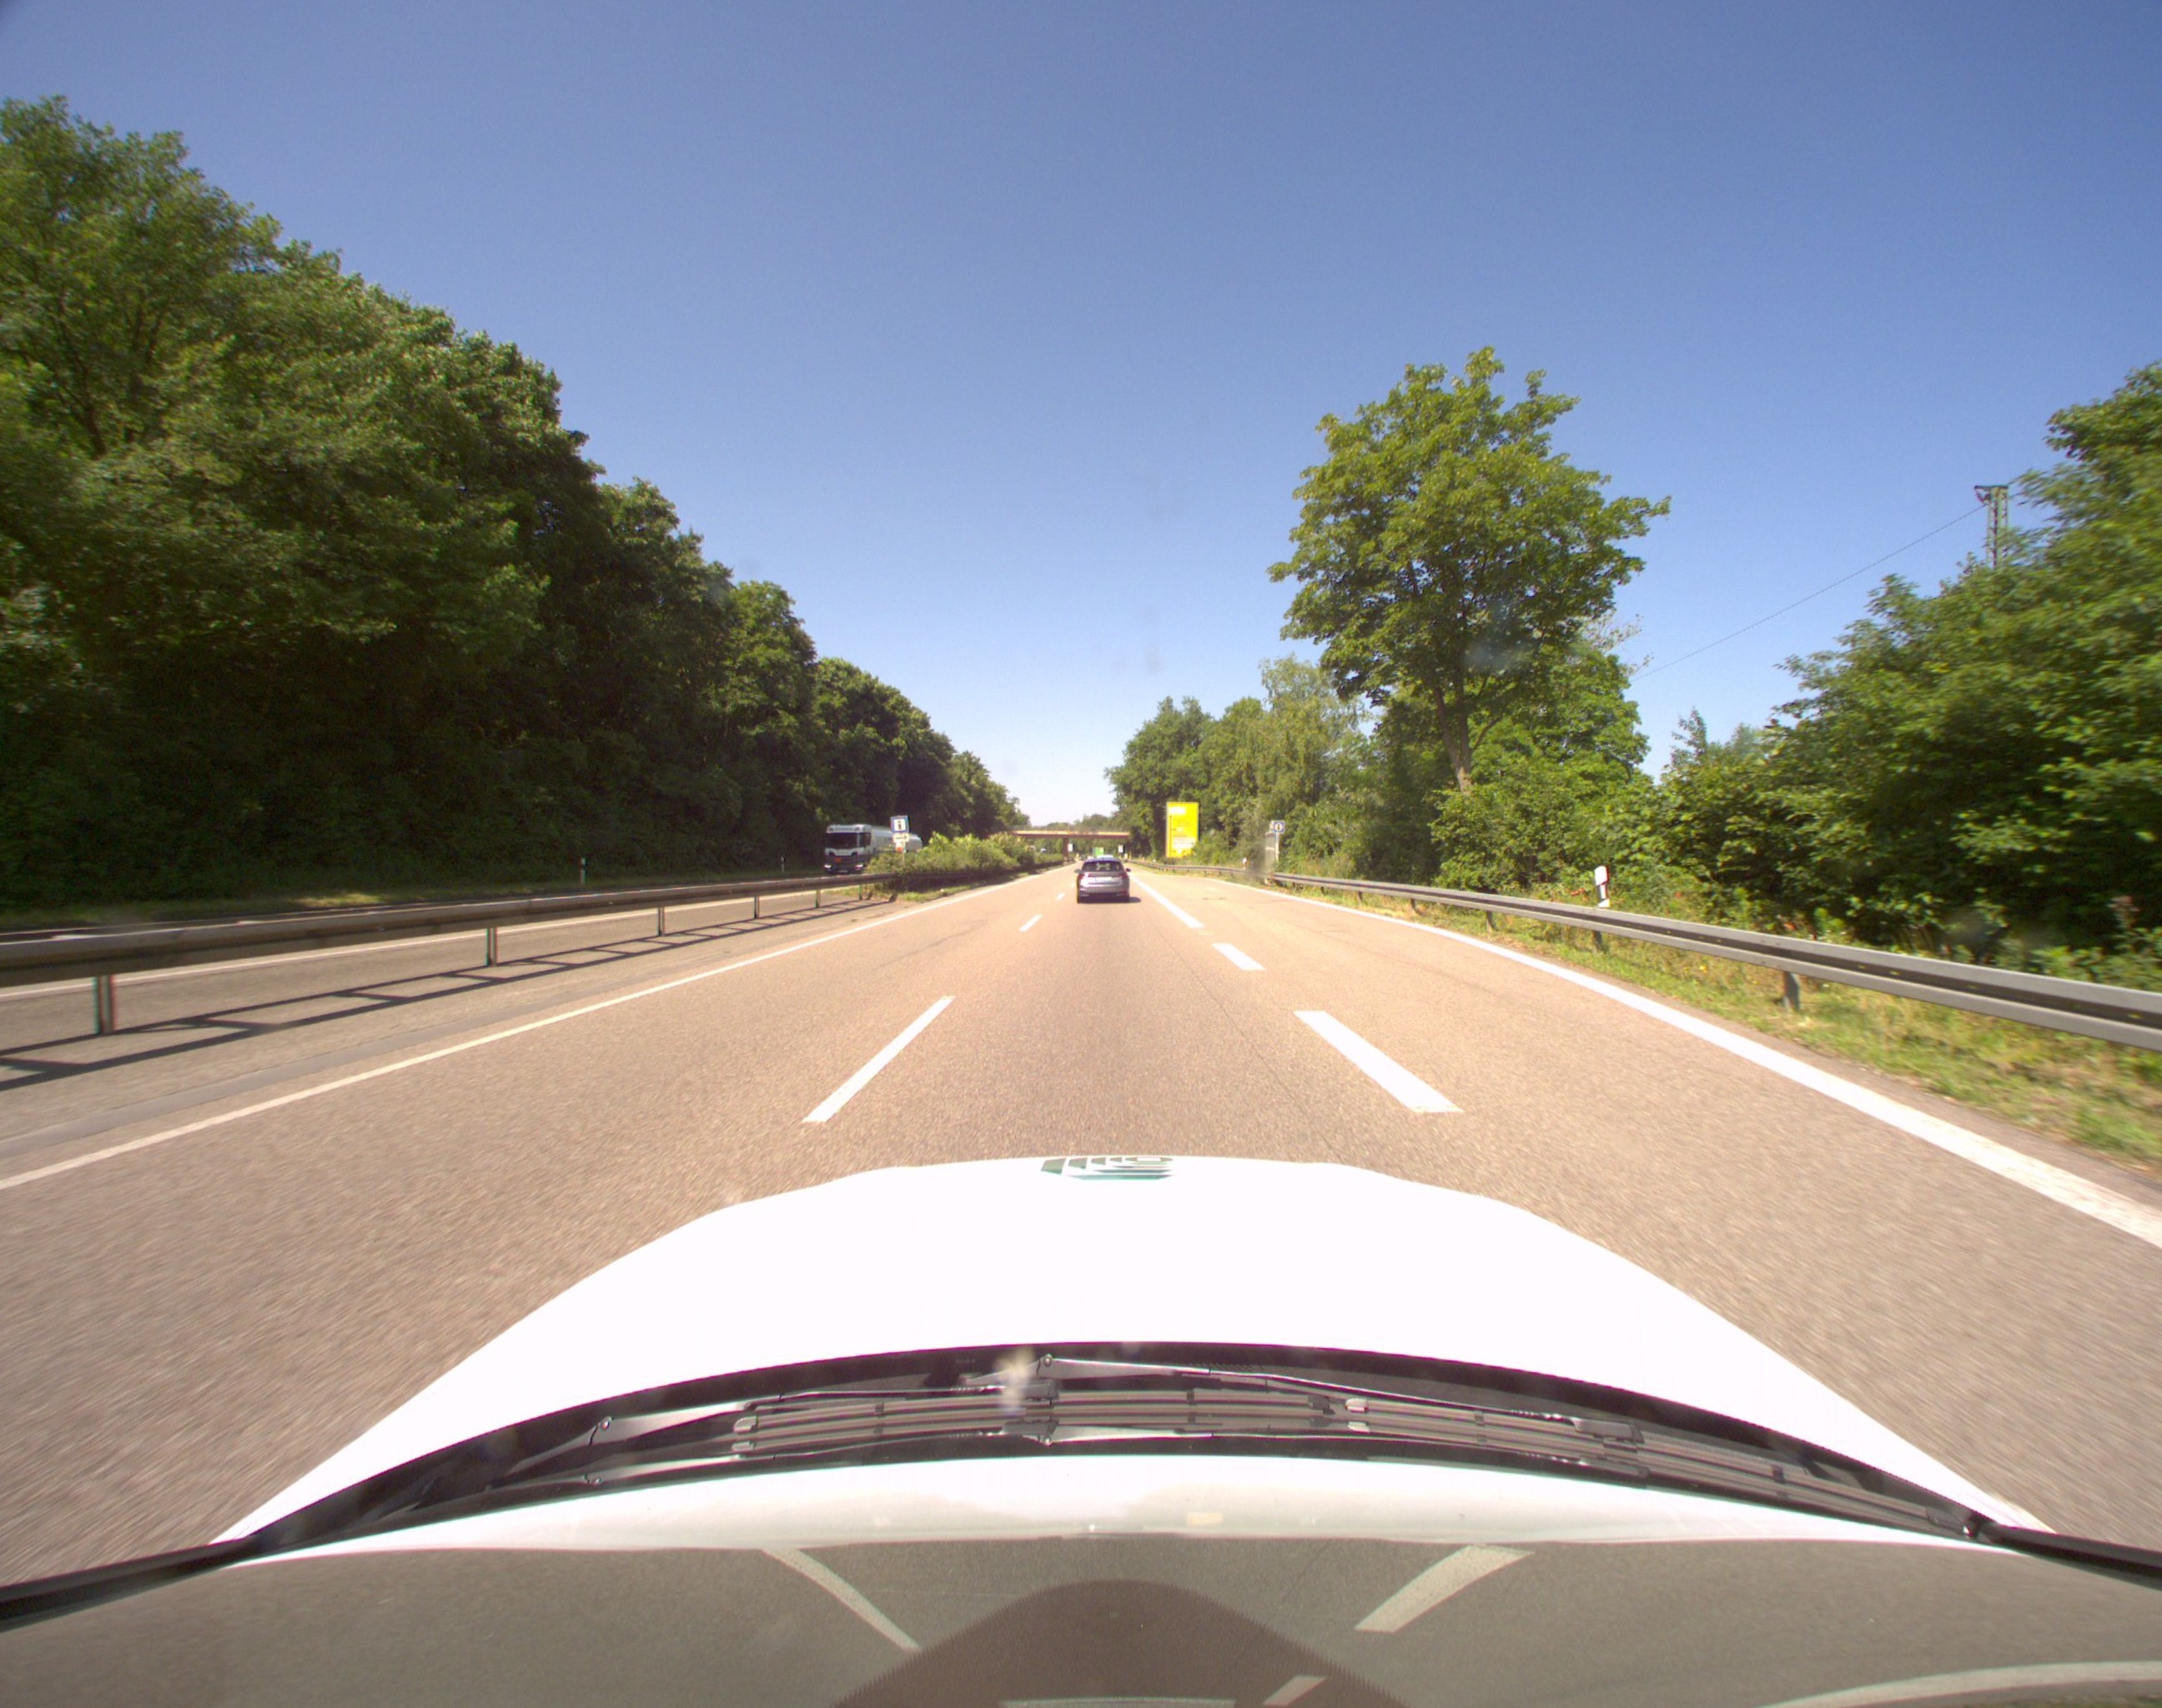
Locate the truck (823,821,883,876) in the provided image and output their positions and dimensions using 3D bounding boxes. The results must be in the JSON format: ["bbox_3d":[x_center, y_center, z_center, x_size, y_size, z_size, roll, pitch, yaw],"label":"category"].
[{"bbox_3d":[-13.971,-0.301,50.120,2.416,3.258,4.002,0,0,2],"label":"truck"}]

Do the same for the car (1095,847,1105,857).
[{"bbox_3d":[5.612,-0.593,240.736,2.738,2.654,4.001,0,0,2],"label":"car"}]

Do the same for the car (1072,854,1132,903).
[{"bbox_3d":[0.749,0.742,26.791,1.832,1.472,3.627,0,0,3],"label":"car"}]

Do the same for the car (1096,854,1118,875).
[{"bbox_3d":[1.970,0.756,59.933,1.516,1.446,3.343,0,0,3],"label":"car"}]

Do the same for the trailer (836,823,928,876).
[{"bbox_3d":[-13.694,-0.247,57.745,2.483,3.235,14.438,0,0,2],"label":"trailer"}]

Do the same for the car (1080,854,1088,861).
[{"bbox_3d":[0.857,1.009,236.659,1.986,2.014,4.001,0,0,2],"label":"car"}]
